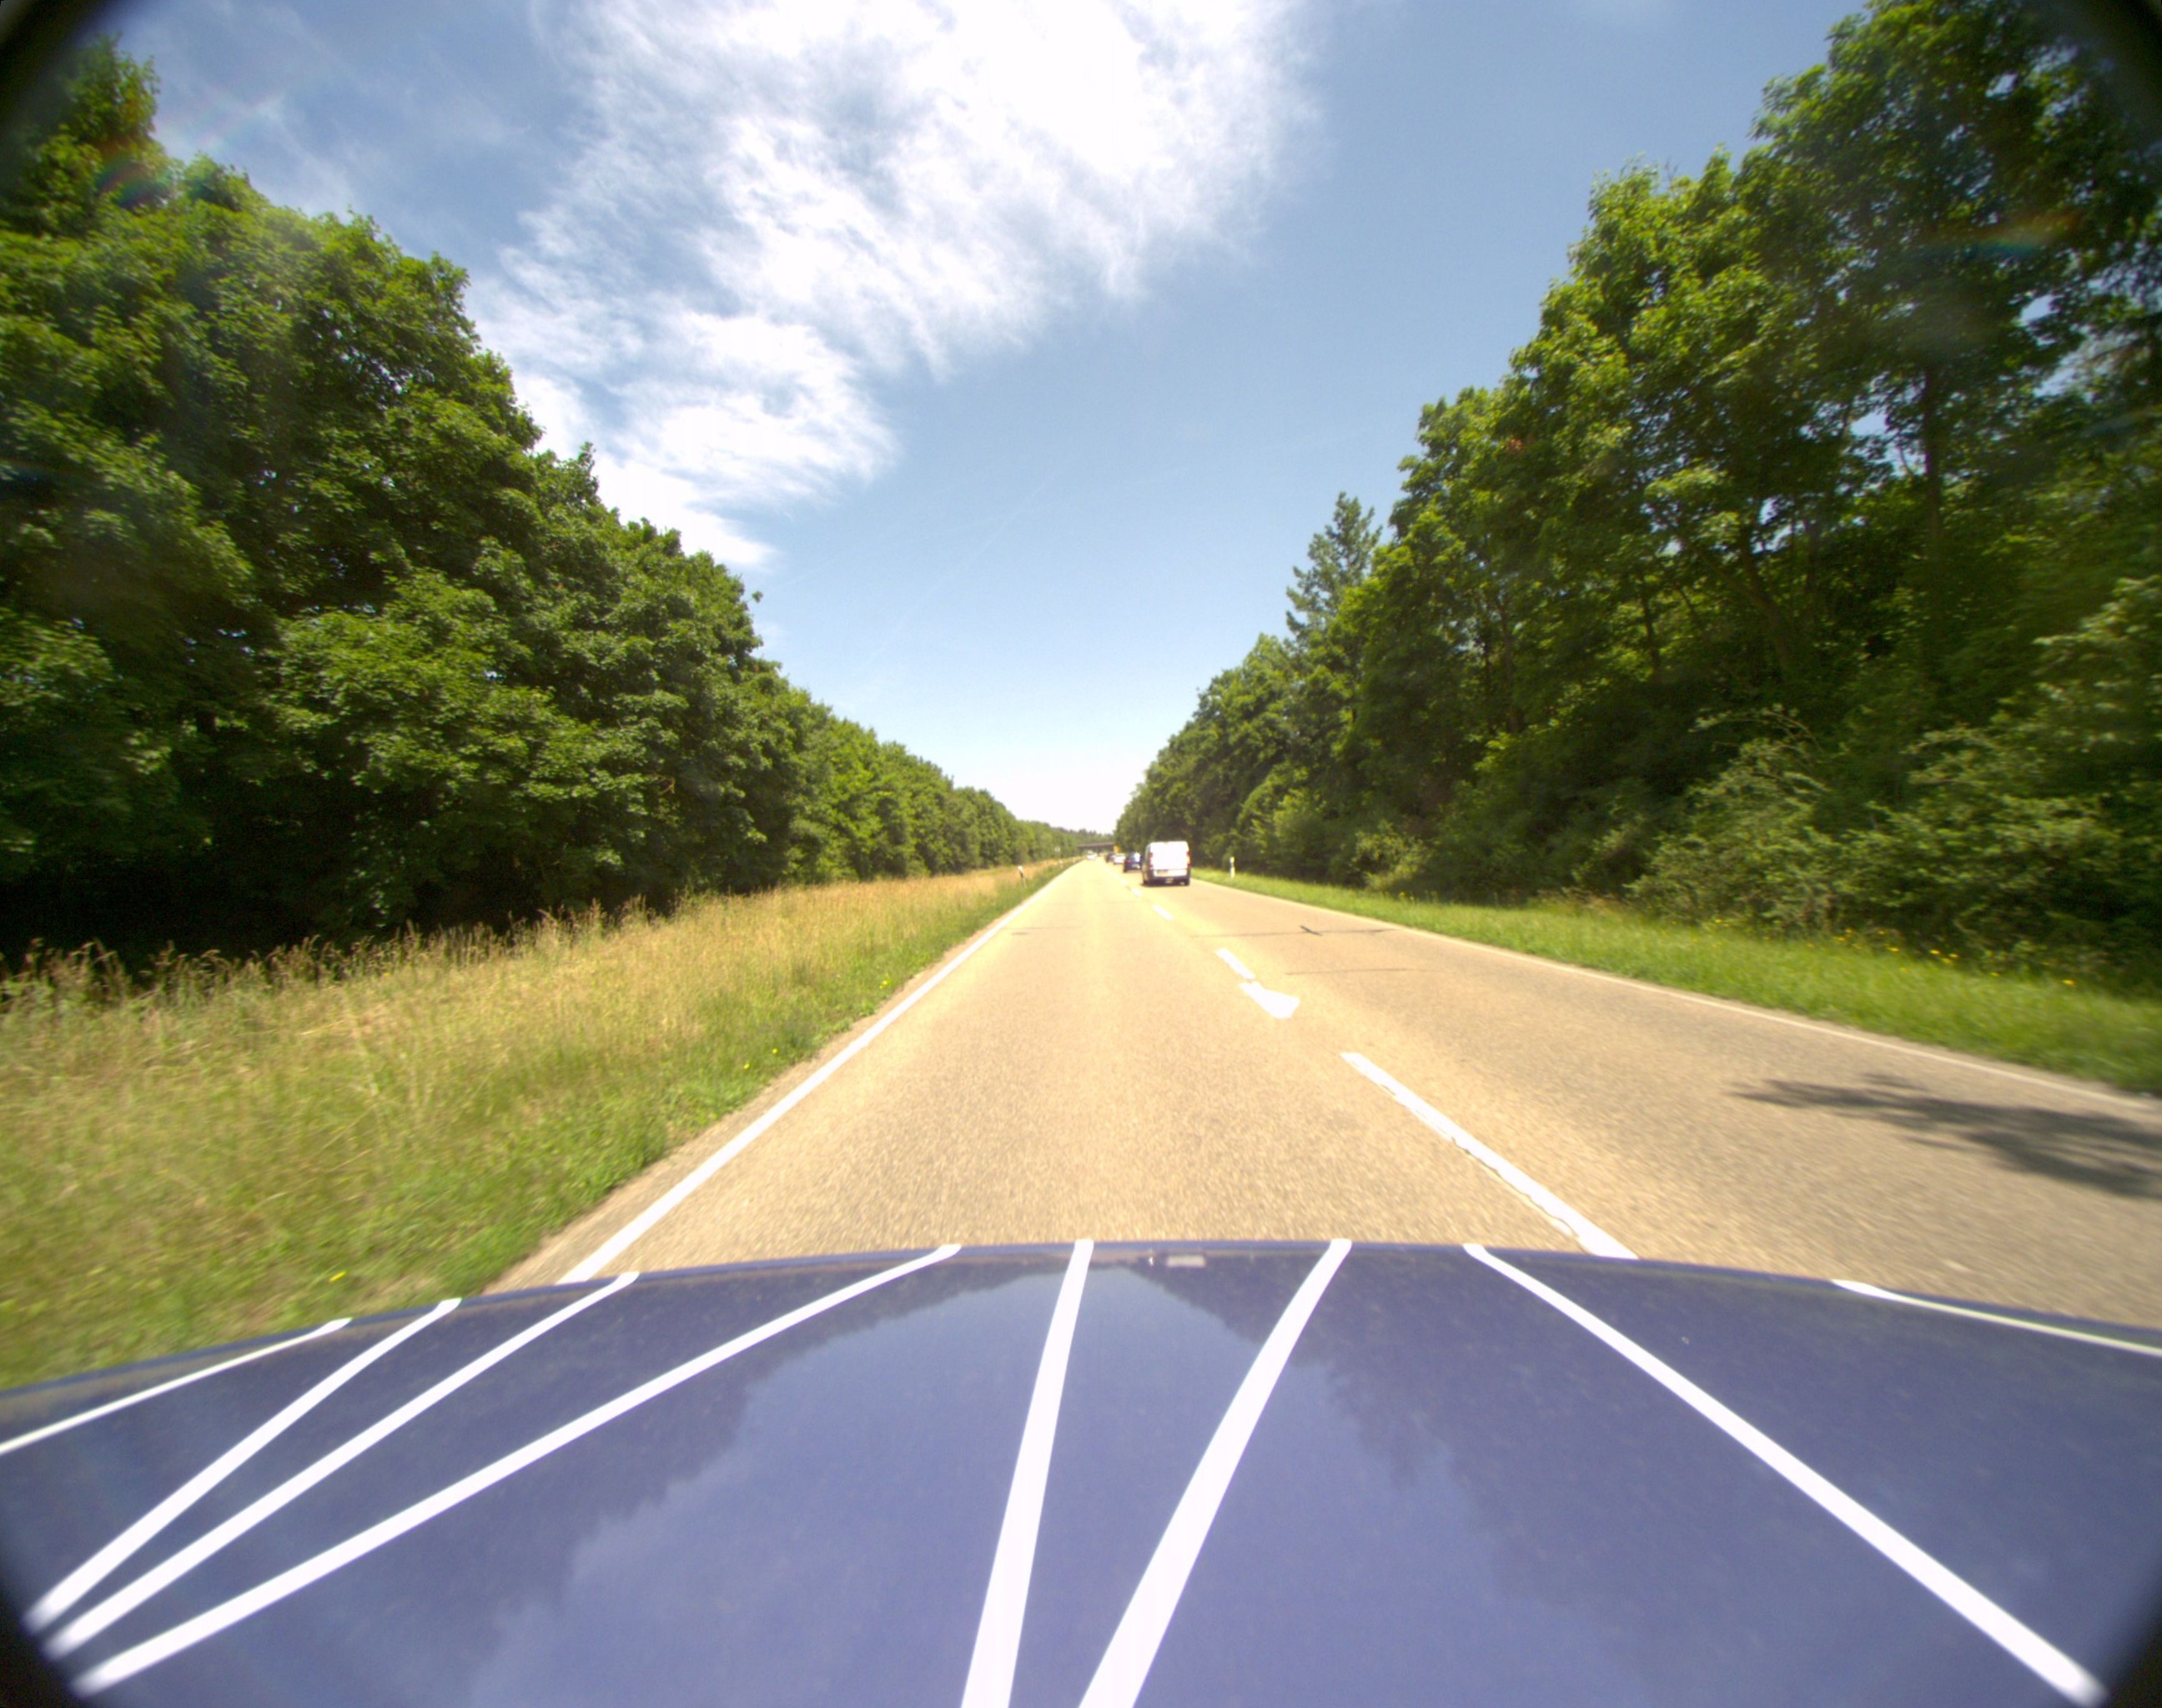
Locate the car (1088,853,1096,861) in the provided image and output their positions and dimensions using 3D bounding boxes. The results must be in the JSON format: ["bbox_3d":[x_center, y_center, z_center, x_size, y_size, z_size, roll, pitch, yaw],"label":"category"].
[{"bbox_3d":[2.624,0.805,187.193,1.865,1.747,3.999,-2,1,0],"label":"car"}]

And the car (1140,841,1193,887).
[{"bbox_3d":[3.882,0.430,35.321,1.880,1.918,4.987,-2,0,1],"label":"car"}]

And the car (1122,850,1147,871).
[{"bbox_3d":[4.186,0.506,60.016,1.676,1.510,3.999,-2,1,0],"label":"car"}]

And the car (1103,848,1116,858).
[{"bbox_3d":[4.689,-0.136,125.284,1.870,1.615,4.200,-2,0,0],"label":"car"}]

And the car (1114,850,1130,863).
[{"bbox_3d":[5.443,0.309,101.423,1.844,1.527,4.658,-2,0,0],"label":"car"}]
